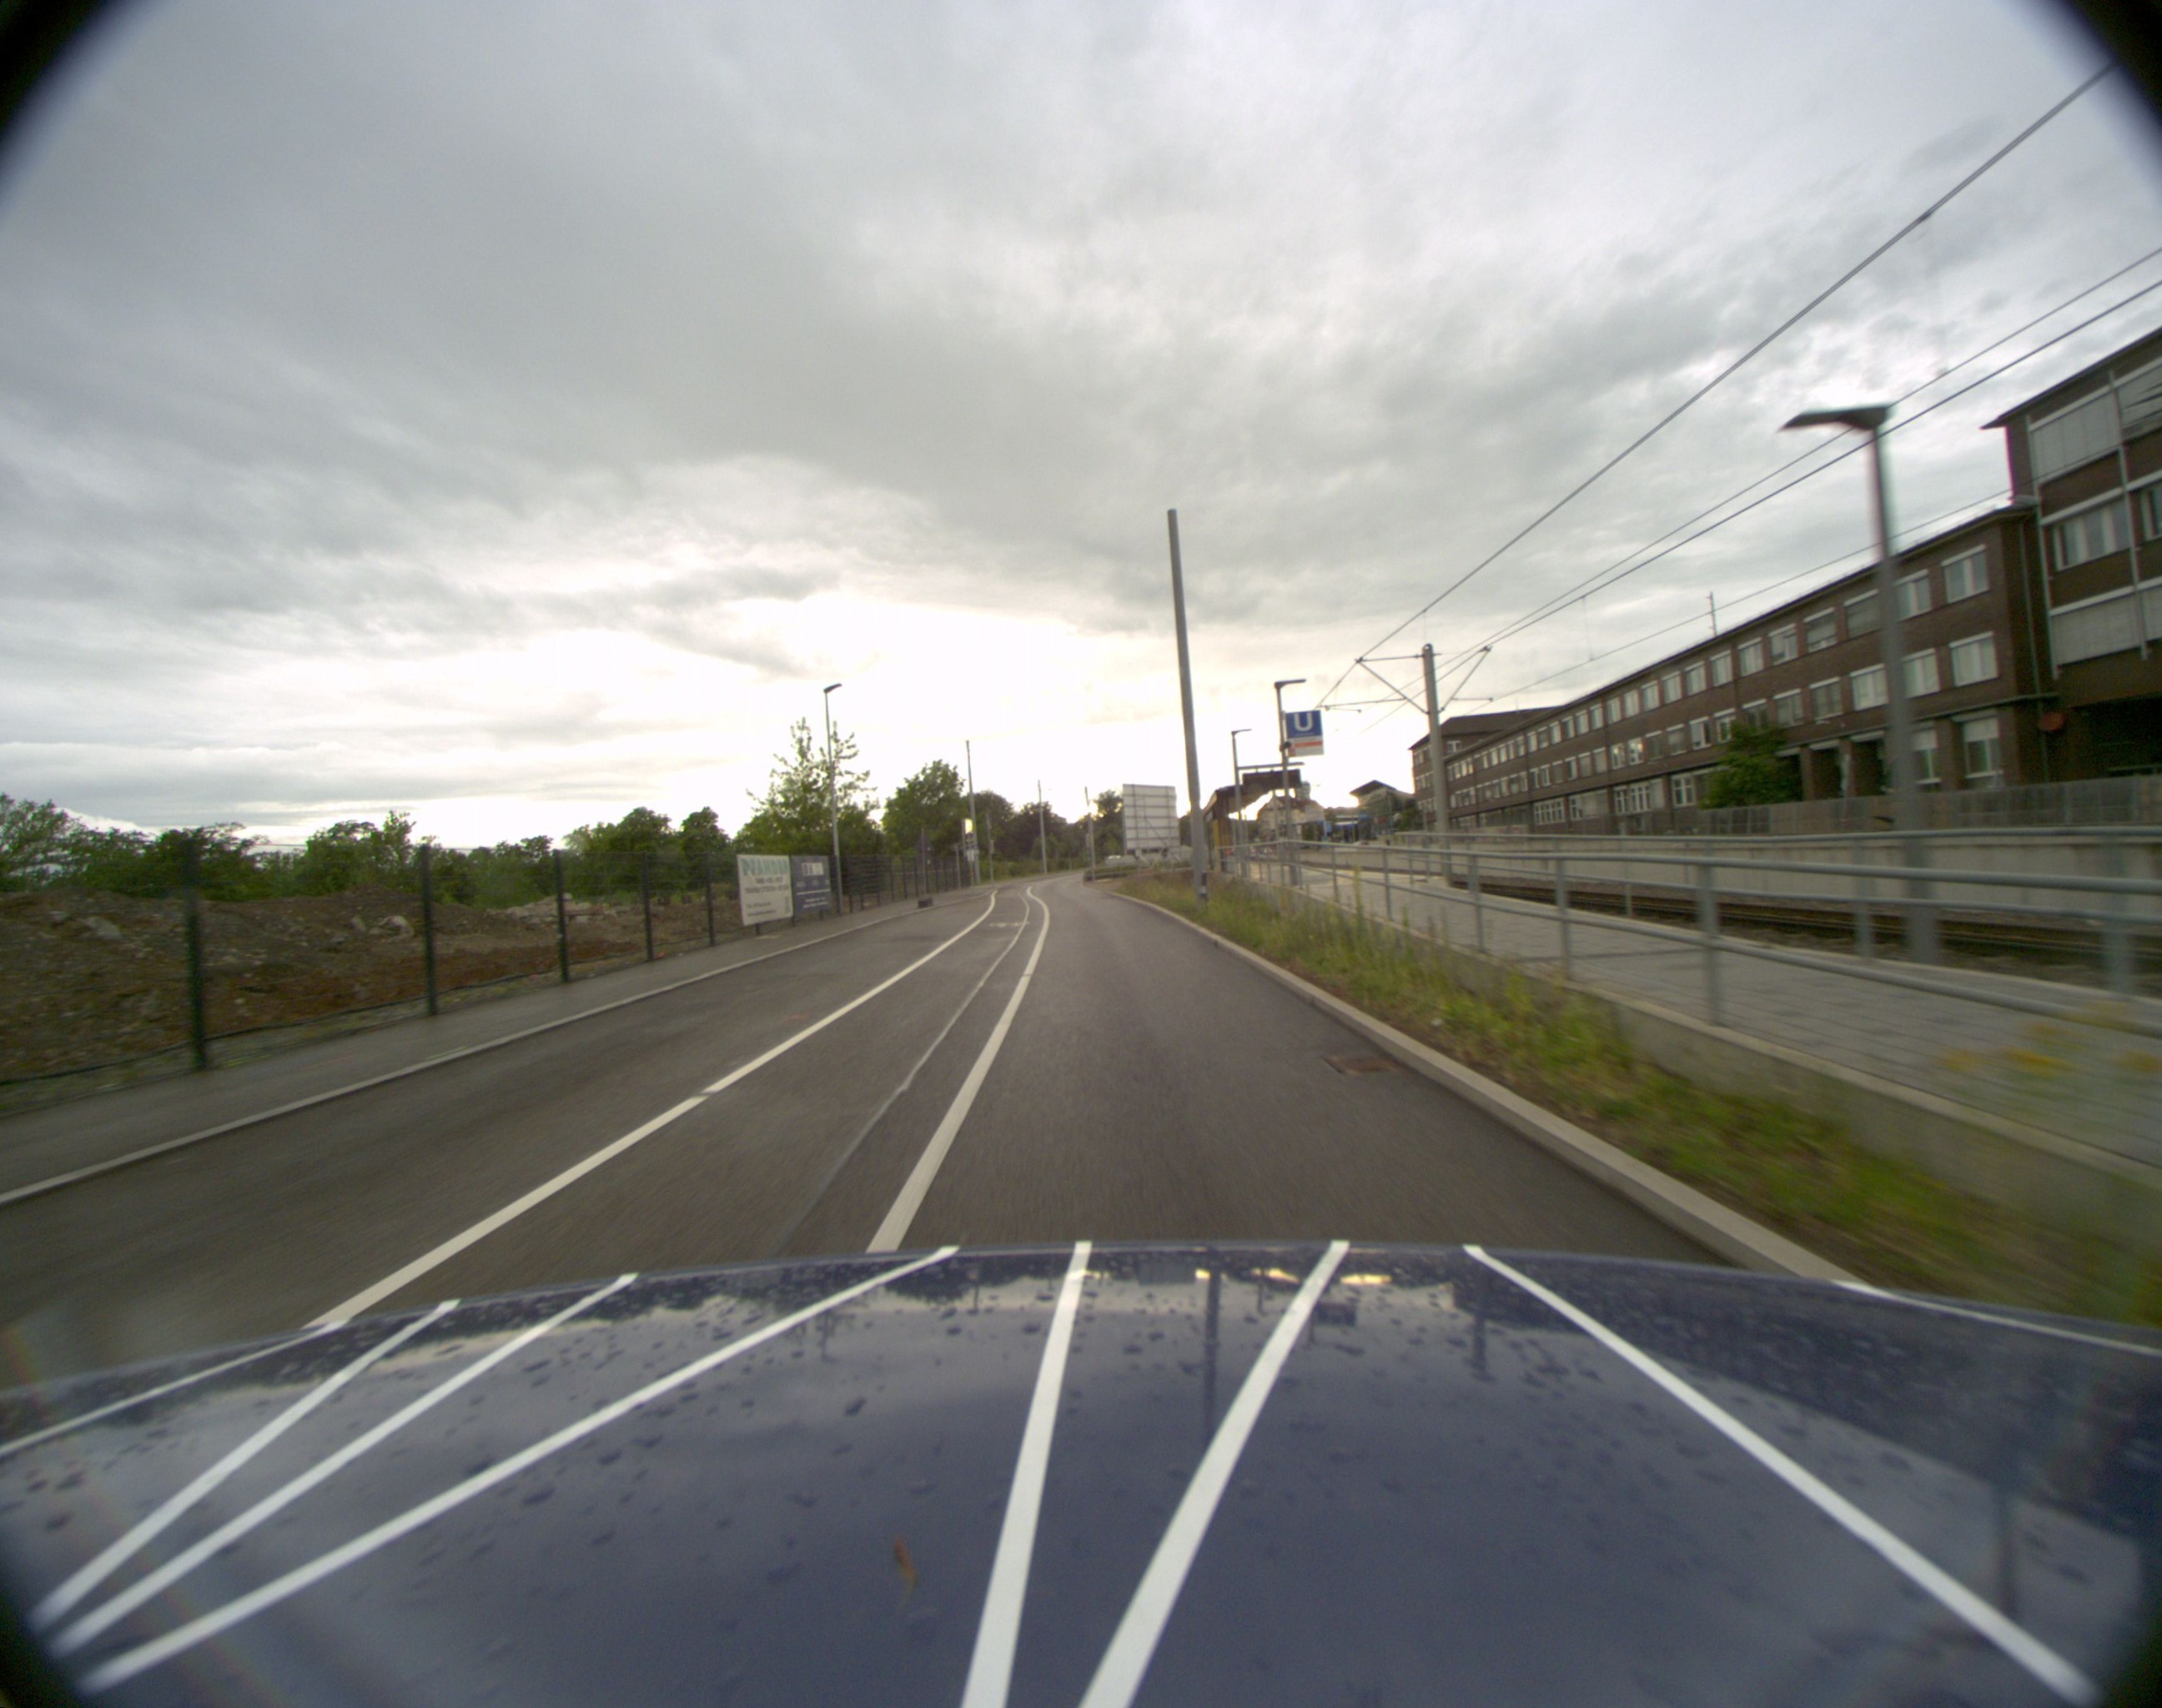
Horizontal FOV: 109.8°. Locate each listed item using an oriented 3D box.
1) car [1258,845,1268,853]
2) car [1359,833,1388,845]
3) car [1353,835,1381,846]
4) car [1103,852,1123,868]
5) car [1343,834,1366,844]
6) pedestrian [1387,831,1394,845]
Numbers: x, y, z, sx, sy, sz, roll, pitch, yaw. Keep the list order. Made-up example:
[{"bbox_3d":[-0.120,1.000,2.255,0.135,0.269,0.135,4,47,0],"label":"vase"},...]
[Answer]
[{"bbox_3d":[48.616,-1.215,202.799,1.997,2.002,4.002,-2,0,6],"label":"car"},{"bbox_3d":[53.715,-2.725,139.520,4.573,1.750,2.001,-4,0,9],"label":"car"},{"bbox_3d":[53.745,-2.513,142.850,4.573,1.750,2.001,-4,0,9],"label":"car"},{"bbox_3d":[4.213,0.743,99.316,1.997,2.002,4.003,-2,1,11],"label":"car"},{"bbox_3d":[55.063,-2.934,153.098,3.994,1.761,2.001,-4,0,10],"label":"car"},{"bbox_3d":[44.598,-2.289,109.507,0.581,2.002,0.728,-3,1,-27],"label":"pedestrian"}]
